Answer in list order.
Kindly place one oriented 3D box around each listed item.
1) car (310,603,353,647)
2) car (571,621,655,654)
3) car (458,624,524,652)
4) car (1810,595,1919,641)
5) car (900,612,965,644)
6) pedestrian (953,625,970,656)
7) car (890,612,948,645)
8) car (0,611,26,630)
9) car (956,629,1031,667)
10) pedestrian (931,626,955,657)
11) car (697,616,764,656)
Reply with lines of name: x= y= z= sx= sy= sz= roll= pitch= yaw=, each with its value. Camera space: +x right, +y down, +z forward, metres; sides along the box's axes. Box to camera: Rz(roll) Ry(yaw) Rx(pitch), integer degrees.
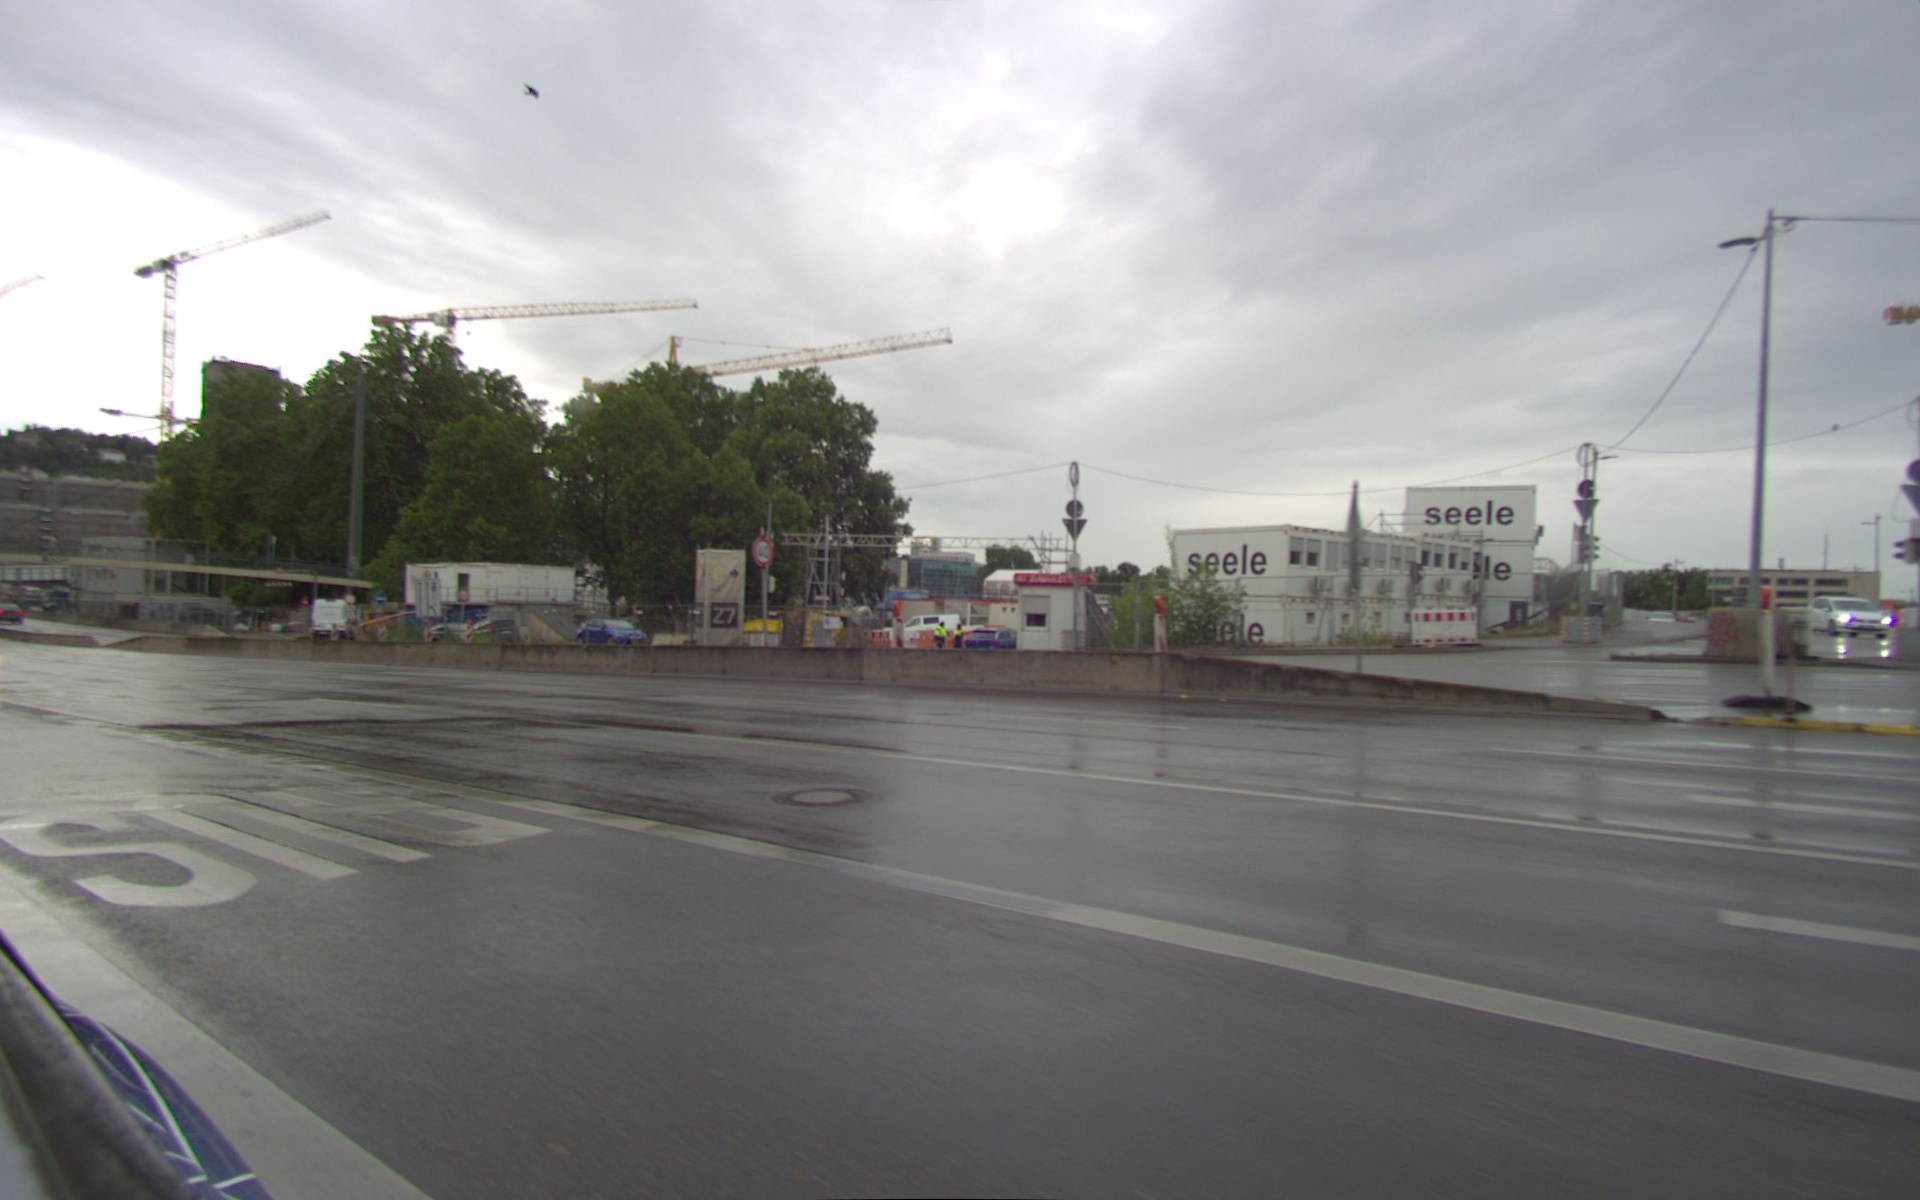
car: x=-40.781 y=1.628 z=65.716 sx=2.044 sy=2.759 sz=4.607 roll=1 pitch=-2 yaw=-29
car: x=-16.298 y=1.740 z=47.465 sx=4.439 sy=1.501 sz=1.816 roll=-1 pitch=-2 yaw=42
car: x=-26.206 y=2.107 z=56.520 sx=4.440 sy=1.501 sz=1.815 roll=-1 pitch=-2 yaw=44
car: x=37.473 y=0.784 z=42.045 sx=1.986 sy=1.785 sz=4.324 roll=-1 pitch=-2 yaw=22
car: x=-2.086 y=2.125 z=77.542 sx=4.881 sy=2.402 sz=1.999 roll=0 pitch=-2 yaw=1
pedestrian: x=0.075 y=1.824 z=45.863 sx=0.735 sy=1.363 sz=0.837 roll=0 pitch=-2 yaw=1
car: x=-3.009 y=2.090 z=75.124 sx=3.957 sy=2.402 sz=1.993 roll=0 pitch=-2 yaw=11
car: x=-80.233 y=1.744 z=84.939 sx=4.430 sy=1.588 sz=1.819 roll=-1 pitch=-2 yaw=36
car: x=1.534 y=2.095 z=44.845 sx=1.988 sy=1.519 sz=3.968 roll=-1 pitch=-1 yaw=24
pedestrian: x=-0.758 y=1.837 z=45.250 sx=0.838 sy=1.363 sz=0.734 roll=-2 pitch=-2 yaw=43
car: x=-14.166 y=2.211 z=62.440 sx=3.994 sy=2.402 sz=1.975 roll=-1 pitch=-2 yaw=38
